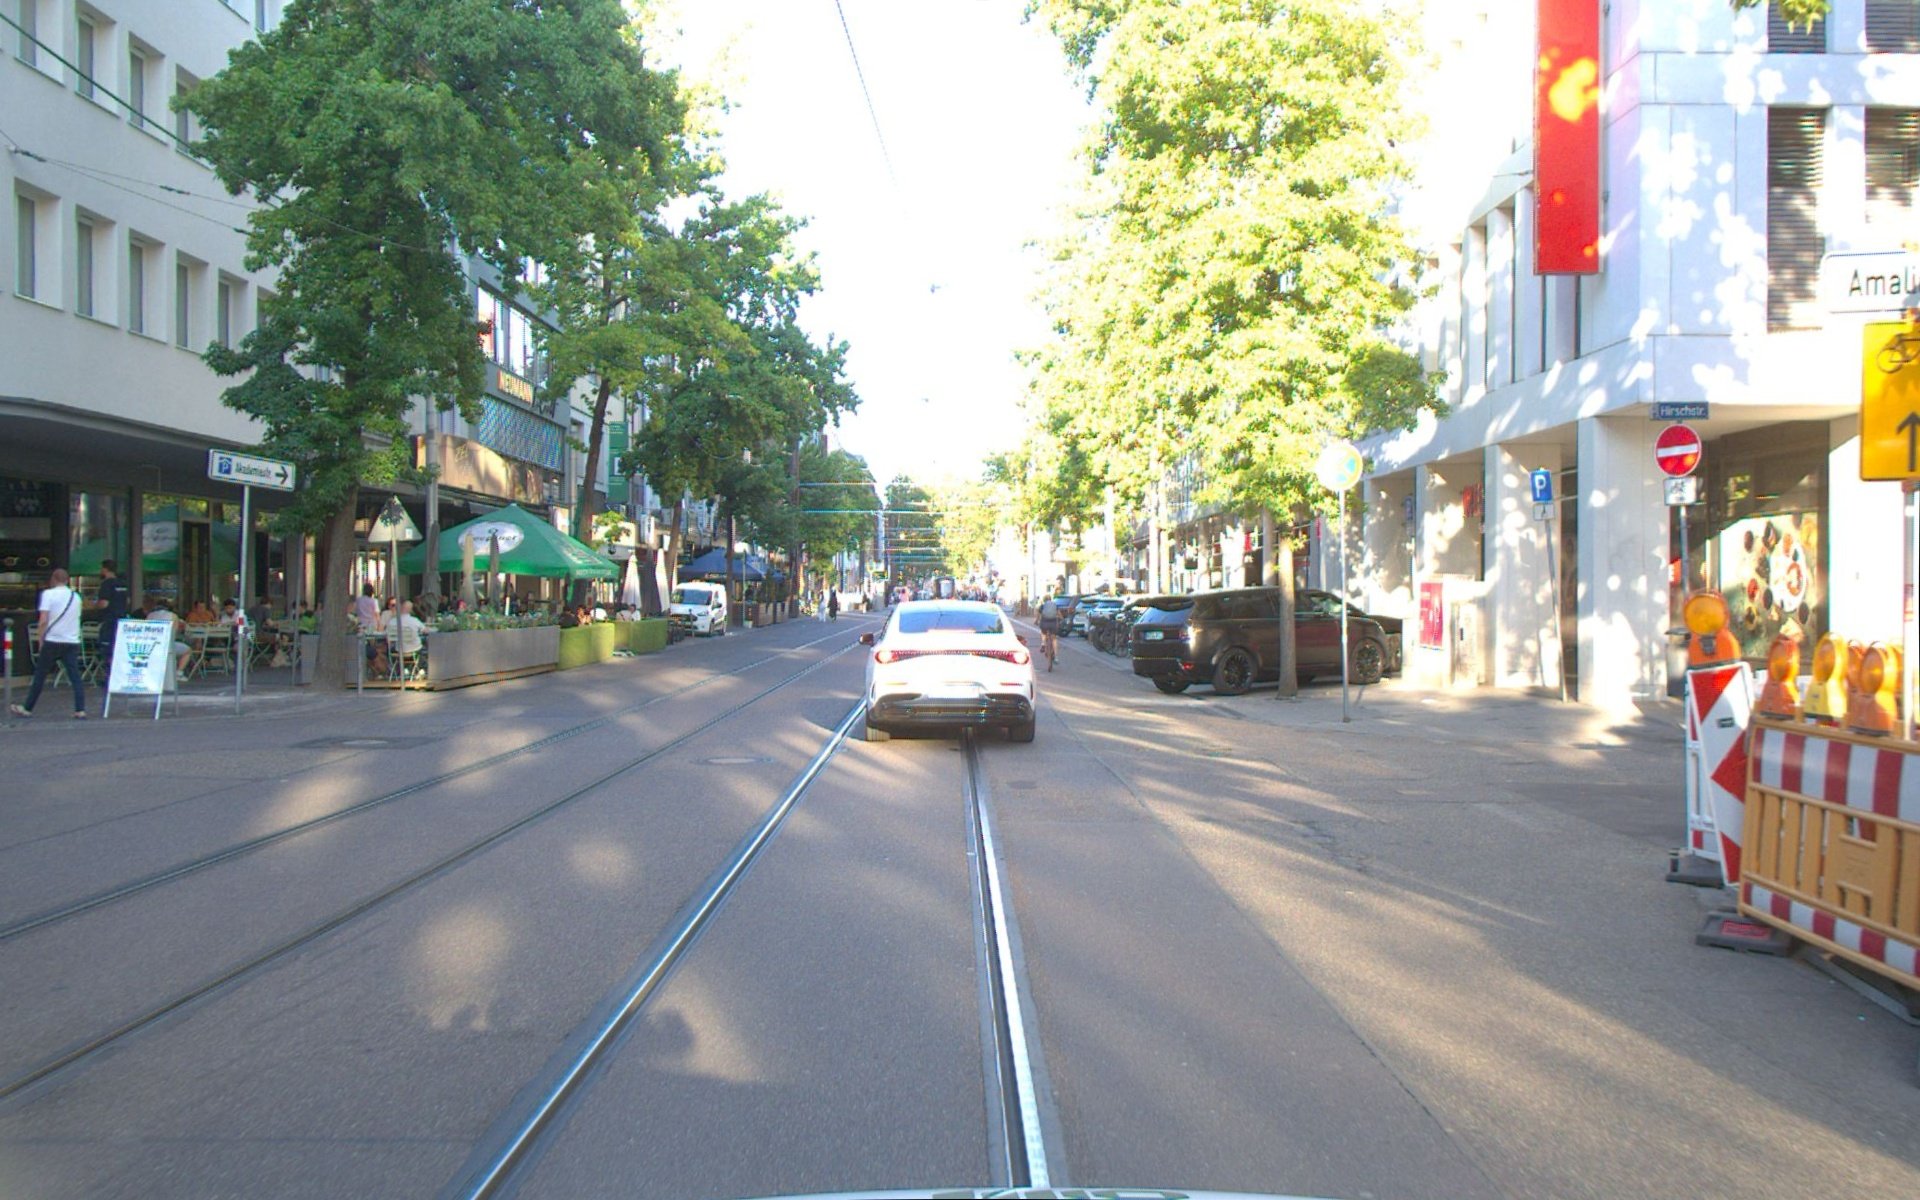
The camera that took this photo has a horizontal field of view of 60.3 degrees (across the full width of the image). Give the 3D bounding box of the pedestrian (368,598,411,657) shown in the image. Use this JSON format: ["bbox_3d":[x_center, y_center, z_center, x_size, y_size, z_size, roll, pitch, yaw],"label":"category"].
[{"bbox_3d":[-12.567,0.597,36.458,0.656,1.264,0.798,2,0,-1],"label":"pedestrian"}]

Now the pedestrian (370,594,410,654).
[{"bbox_3d":[-13.030,0.547,37.818,0.606,1.332,0.697,3,0,-1],"label":"pedestrian"}]

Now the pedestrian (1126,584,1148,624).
[{"bbox_3d":[7.804,0.178,72.802,0.677,1.761,0.629,-2,0,42],"label":"pedestrian"}]

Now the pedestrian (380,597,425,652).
[{"bbox_3d":[-13.048,0.566,38.741,0.721,1.253,0.788,3,0,-1],"label":"pedestrian"}]

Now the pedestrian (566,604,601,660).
[{"bbox_3d":[-8.914,0.757,39.165,0.606,1.266,0.697,3,0,-1],"label":"pedestrian"}]

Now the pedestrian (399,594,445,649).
[{"bbox_3d":[-13.002,0.517,39.981,0.761,1.259,0.945,3,0,-1],"label":"pedestrian"}]

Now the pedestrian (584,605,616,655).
[{"bbox_3d":[-9.863,0.810,45.326,0.643,1.315,0.798,3,0,-1],"label":"pedestrian"}]

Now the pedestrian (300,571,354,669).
[{"bbox_3d":[-11.812,0.373,30.872,0.664,1.787,0.697,2,0,1],"label":"pedestrian"}]

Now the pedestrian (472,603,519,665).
[{"bbox_3d":[-9.928,0.716,35.383,0.693,1.281,0.869,2,0,2],"label":"pedestrian"}]

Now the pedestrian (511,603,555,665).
[{"bbox_3d":[-9.108,0.720,35.304,0.693,1.281,0.772,2,0,2],"label":"pedestrian"}]

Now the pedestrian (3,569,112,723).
[{"bbox_3d":[-10.715,0.522,19.646,0.781,1.771,0.863,1,1,33],"label":"pedestrian"}]

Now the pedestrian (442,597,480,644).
[{"bbox_3d":[-13.034,0.532,43.204,0.686,1.188,0.788,3,0,-1],"label":"pedestrian"}]

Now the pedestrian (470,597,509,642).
[{"bbox_3d":[-13.071,0.536,45.973,0.737,1.209,1.065,3,0,-1],"label":"pedestrian"}]

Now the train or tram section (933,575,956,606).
[{"bbox_3d":[-1.853,-1.086,196.912,2.639,3.578,12.544,0,0,0],"label":"train or tram section"}]

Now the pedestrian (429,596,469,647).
[{"bbox_3d":[-12.965,0.536,42.009,0.721,1.235,0.788,3,0,-1],"label":"pedestrian"}]

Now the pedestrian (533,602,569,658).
[{"bbox_3d":[-9.694,0.702,39.212,0.606,1.266,0.697,3,0,-1],"label":"pedestrian"}]

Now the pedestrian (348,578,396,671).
[{"bbox_3d":[-11.026,0.454,31.029,0.606,1.699,0.697,2,0,-1],"label":"pedestrian"}]

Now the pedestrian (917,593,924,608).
[{"bbox_3d":[-4.747,0.085,196.755,0.784,1.813,0.848,2,0,-2],"label":"pedestrian"}]

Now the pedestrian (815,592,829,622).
[{"bbox_3d":[-7.173,0.359,85.989,0.609,1.535,0.833,2,0,0],"label":"pedestrian"}]

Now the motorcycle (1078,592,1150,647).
[{"bbox_3d":[4.695,0.587,50.308,2.302,1.536,0.845,-2,-1,-44],"label":"motorcycle"}]

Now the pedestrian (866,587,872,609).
[{"bbox_3d":[-8.149,-0.171,148.238,0.527,1.963,0.573,0,0,3],"label":"pedestrian"}]

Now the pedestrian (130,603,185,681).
[{"bbox_3d":[-13.142,0.680,27.097,0.541,1.257,0.687,2,0,0],"label":"pedestrian"}]

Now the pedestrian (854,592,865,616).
[{"bbox_3d":[-7.511,0.291,123.581,0.771,1.832,0.844,0,0,1],"label":"pedestrian"}]

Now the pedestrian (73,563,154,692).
[{"bbox_3d":[-12.375,0.396,24.205,0.670,1.847,0.764,2,0,15],"label":"pedestrian"}]

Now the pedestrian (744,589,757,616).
[{"bbox_3d":[-12.233,0.149,96.608,0.585,1.559,0.671,2,0,0],"label":"pedestrian"}]

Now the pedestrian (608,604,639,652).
[{"bbox_3d":[-9.252,0.775,45.487,0.643,1.266,0.872,3,0,-1],"label":"pedestrian"}]

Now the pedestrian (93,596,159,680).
[{"bbox_3d":[-13.235,0.597,26.262,0.631,1.291,0.738,2,0,0],"label":"pedestrian"}]

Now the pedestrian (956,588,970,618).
[{"bbox_3d":[0.218,0.199,104.306,0.824,1.832,0.790,2,0,1],"label":"pedestrian"}]

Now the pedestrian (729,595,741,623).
[{"bbox_3d":[-10.039,0.405,73.833,0.484,1.249,0.535,1,0,-1],"label":"pedestrian"}]

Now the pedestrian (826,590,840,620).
[{"bbox_3d":[-6.670,0.257,86.954,0.609,1.577,0.852,2,0,0],"label":"pedestrian"}]

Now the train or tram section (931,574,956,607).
[{"bbox_3d":[-1.794,-1.031,184.360,2.639,3.578,12.544,0,0,0],"label":"train or tram section"}]

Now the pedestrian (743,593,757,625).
[{"bbox_3d":[-9.202,0.389,72.528,0.538,1.380,0.582,1,0,-1],"label":"pedestrian"}]

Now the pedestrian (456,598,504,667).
[{"bbox_3d":[-9.865,0.661,34.032,0.693,1.371,0.781,2,0,2],"label":"pedestrian"}]

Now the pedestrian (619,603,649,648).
[{"bbox_3d":[-9.138,0.697,46.347,0.643,1.214,0.798,3,0,-1],"label":"pedestrian"}]

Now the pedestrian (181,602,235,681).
[{"bbox_3d":[-12.448,0.680,27.386,0.541,1.257,0.687,2,0,0],"label":"pedestrian"}]

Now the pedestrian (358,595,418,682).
[{"bbox_3d":[-9.538,0.626,27.621,0.675,1.410,0.807,2,0,0],"label":"pedestrian"}]

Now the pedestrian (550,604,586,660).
[{"bbox_3d":[-9.062,0.733,38.282,0.606,1.266,0.697,3,0,-1],"label":"pedestrian"}]

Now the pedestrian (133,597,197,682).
[{"bbox_3d":[-12.587,0.616,26.192,0.614,1.304,0.727,2,0,0],"label":"pedestrian"}]
